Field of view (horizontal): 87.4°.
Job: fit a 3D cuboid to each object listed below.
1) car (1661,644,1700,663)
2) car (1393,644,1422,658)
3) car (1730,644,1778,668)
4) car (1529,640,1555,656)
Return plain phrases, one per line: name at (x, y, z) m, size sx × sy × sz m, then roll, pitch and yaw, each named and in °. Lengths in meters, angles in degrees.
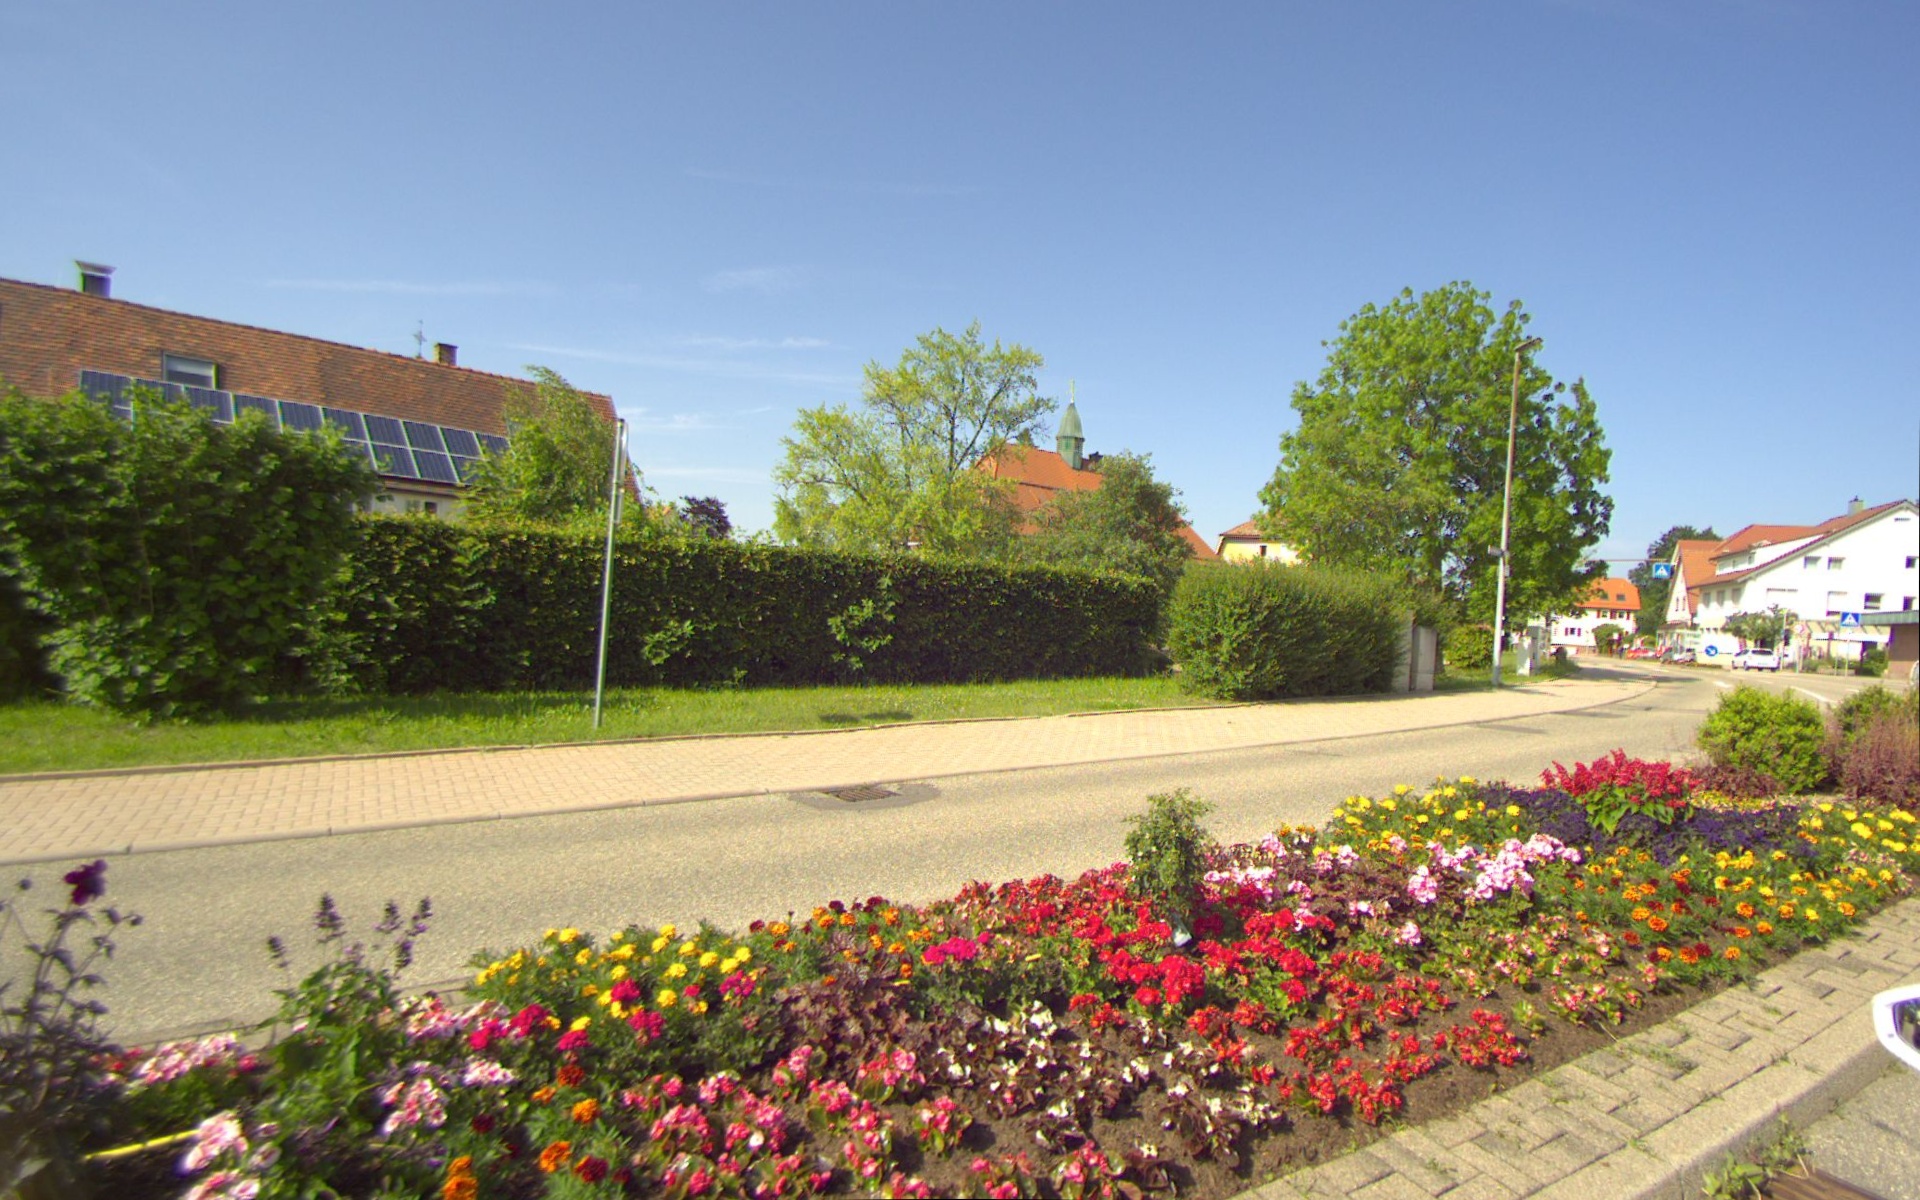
car at (59.252, 4.375, 82.652) m, size 1.608 × 1.438 × 3.936 m, roll 1°, pitch -2°, yaw 20°
car at (43.128, 4.916, 96.755) m, size 1.699 × 1.314 × 3.984 m, roll 0°, pitch -2°, yaw 38°
car at (52.016, 3.655, 65.893) m, size 1.733 × 1.442 × 3.630 m, roll 1°, pitch -2°, yaw 26°
car at (77.654, 6.441, 134.114) m, size 2.455 × 2.040 × 4.303 m, roll 0°, pitch -2°, yaw 23°
